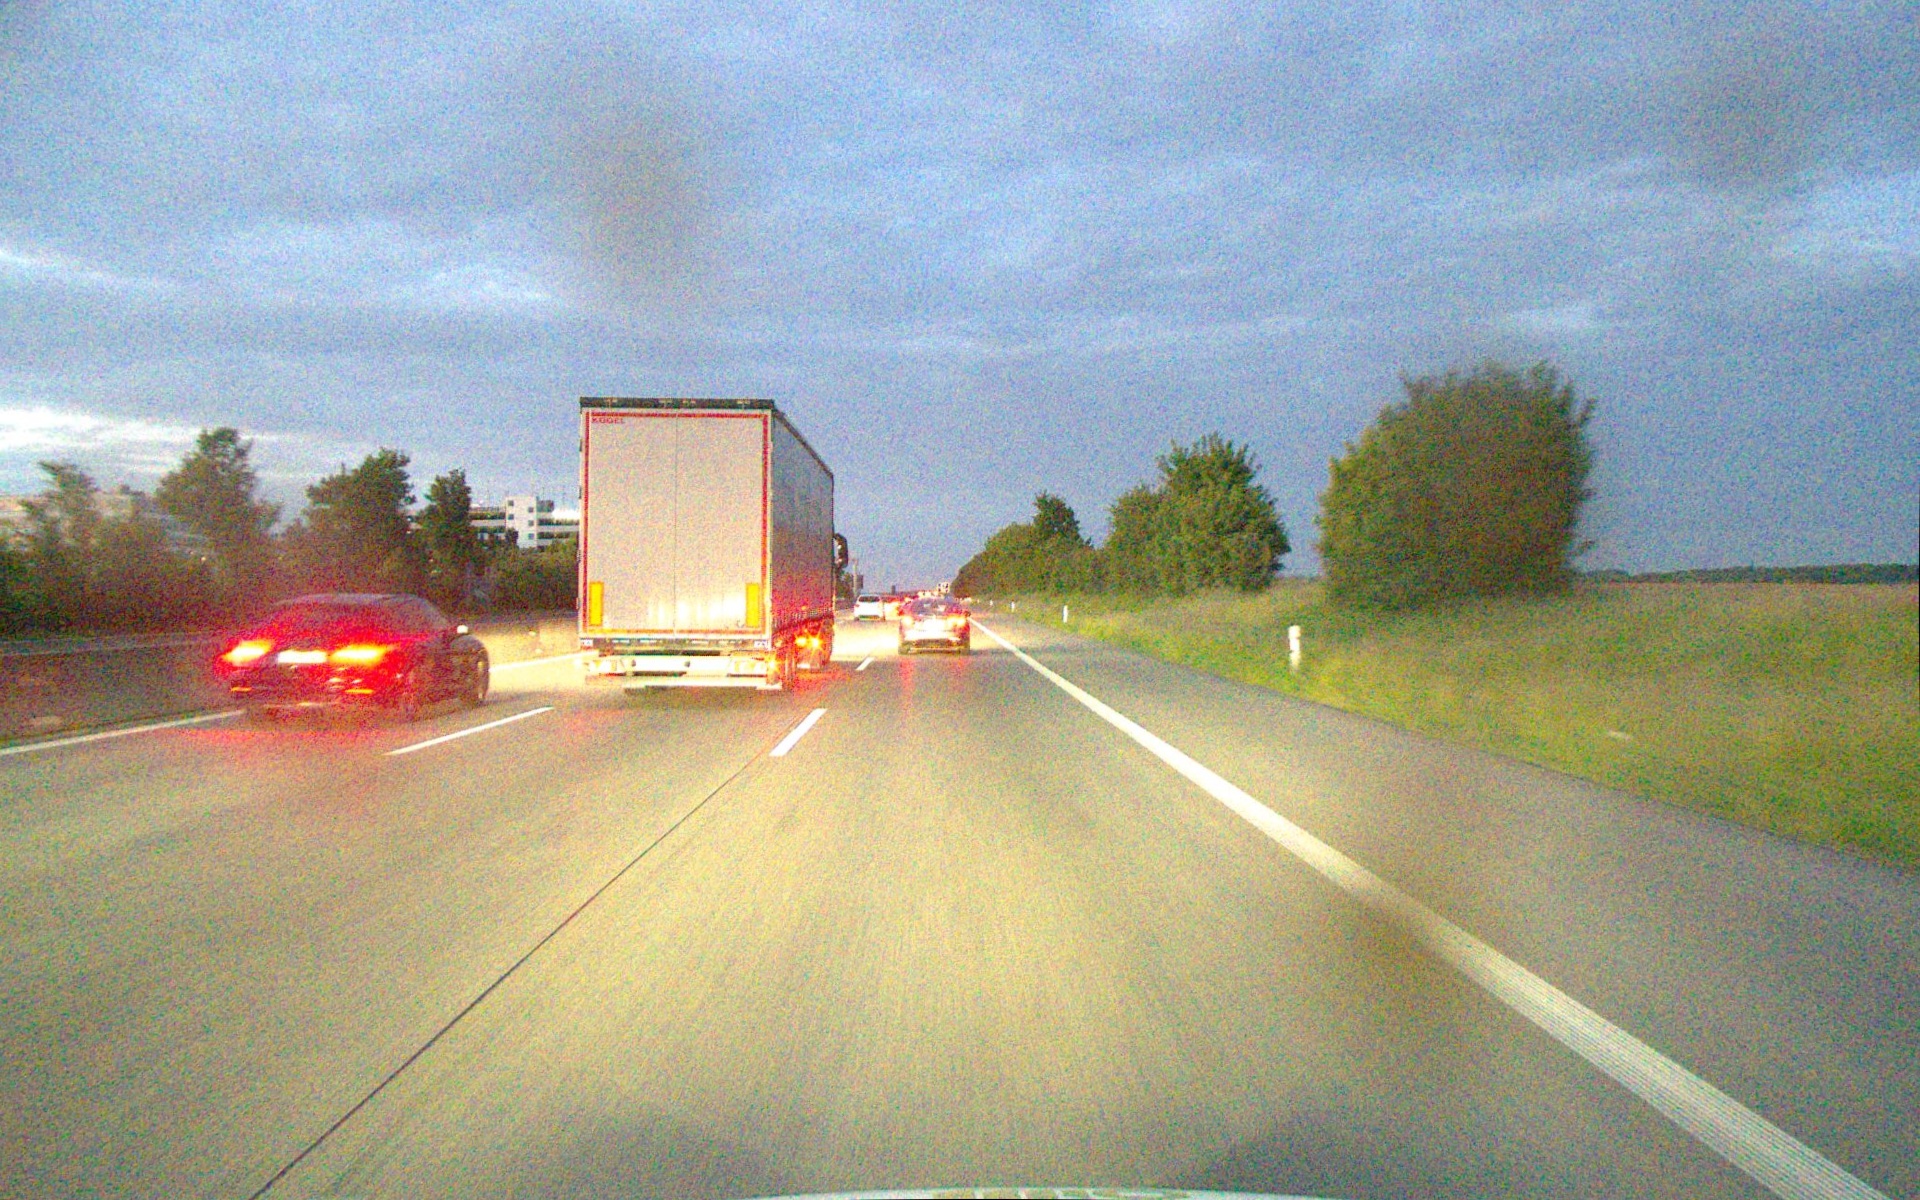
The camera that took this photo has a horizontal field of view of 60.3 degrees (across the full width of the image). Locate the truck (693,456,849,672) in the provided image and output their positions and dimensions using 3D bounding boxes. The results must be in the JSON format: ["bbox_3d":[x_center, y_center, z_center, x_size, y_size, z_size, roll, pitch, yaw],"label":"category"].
[{"bbox_3d":[-3.868,-0.686,35.075,2.721,4.164,6.101,0,0,-1],"label":"truck"}]

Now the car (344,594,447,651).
[{"bbox_3d":[-18.055,0.703,53.084,1.953,1.733,3.999,1,0,-1],"label":"car"}]

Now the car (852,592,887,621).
[{"bbox_3d":[-5.107,0.386,93.756,1.708,1.551,4.413,1,0,0],"label":"car"}]

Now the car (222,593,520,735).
[{"bbox_3d":[-6.944,0.661,20.190,1.777,1.462,5.393,1,0,-1],"label":"car"}]

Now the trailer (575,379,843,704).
[{"bbox_3d":[-3.720,-0.715,28.443,2.737,4.157,14.520,0,0,-1],"label":"trailer"}]

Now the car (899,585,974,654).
[{"bbox_3d":[-0.619,0.492,43.066,1.842,1.672,3.999,1,0,-1],"label":"car"}]

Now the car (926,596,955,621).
[{"bbox_3d":[-1.299,0.567,108.134,1.842,1.579,3.999,1,0,-1],"label":"car"}]

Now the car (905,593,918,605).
[{"bbox_3d":[-6.976,-0.132,237.658,1.842,1.579,3.999,1,0,-1],"label":"car"}]

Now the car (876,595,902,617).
[{"bbox_3d":[-4.994,0.430,116.062,1.688,1.497,4.725,1,0,-1],"label":"car"}]
